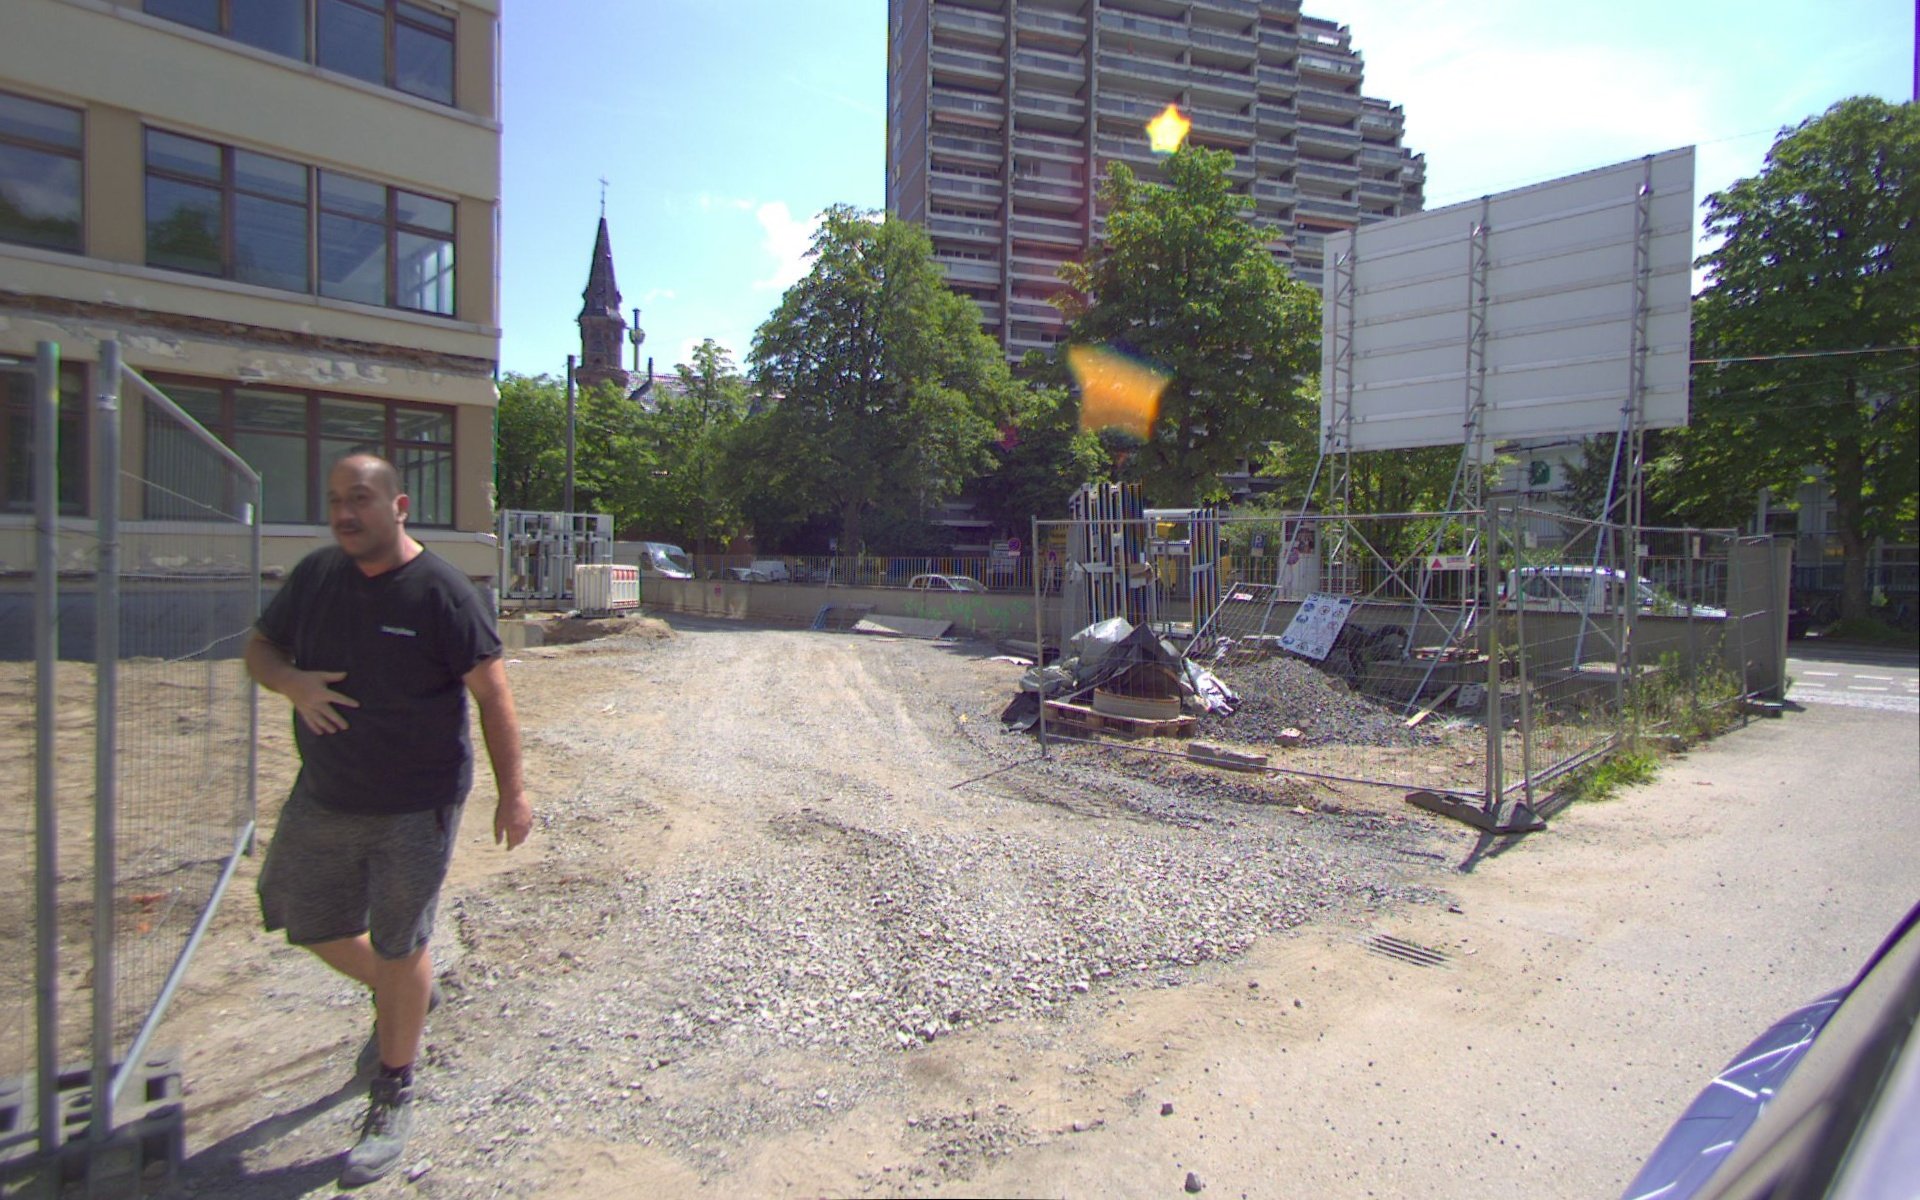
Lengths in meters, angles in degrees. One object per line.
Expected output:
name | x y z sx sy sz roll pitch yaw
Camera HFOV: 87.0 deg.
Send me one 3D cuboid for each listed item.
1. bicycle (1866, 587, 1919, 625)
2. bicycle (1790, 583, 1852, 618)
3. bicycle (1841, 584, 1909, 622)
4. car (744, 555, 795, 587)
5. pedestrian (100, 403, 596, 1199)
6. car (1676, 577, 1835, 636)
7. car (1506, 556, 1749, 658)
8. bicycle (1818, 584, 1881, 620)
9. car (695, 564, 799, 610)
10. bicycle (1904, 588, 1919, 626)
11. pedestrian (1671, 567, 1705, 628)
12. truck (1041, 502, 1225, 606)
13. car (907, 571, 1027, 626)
bicycle | 29.346 0.192 31.568 1.903 1.144 0.570 1 1 -12
bicycle | 28.742 0.025 33.780 1.887 1.144 0.570 1 1 -15
bicycle | 29.215 0.097 32.305 1.887 1.144 0.570 1 1 -12
car | -12.610 -1.920 67.104 1.969 2.038 3.987 1 2 12
pedestrian | -1.541 0.482 2.763 0.852 1.842 0.969 1 1 -9
car | 22.197 0.140 28.425 1.619 1.535 3.576 1 1 0
car | 13.679 0.059 20.912 1.495 1.876 3.990 -4 5 -44
bicycle | 29.054 0.072 33.062 1.887 1.144 0.570 1 1 -15
car | -8.148 -0.508 38.482 3.988 1.627 1.968 2 1 44
bicycle | 29.643 0.227 30.621 1.903 1.144 0.570 1 1 -12
pedestrian | 22.841 -0.081 31.735 0.701 1.898 0.578 1 1 -30
truck | 7.251 -1.985 44.507 2.694 4.055 9.762 0 2 -26
car | 0.158 -0.081 29.558 1.593 1.457 3.580 0 2 -39
